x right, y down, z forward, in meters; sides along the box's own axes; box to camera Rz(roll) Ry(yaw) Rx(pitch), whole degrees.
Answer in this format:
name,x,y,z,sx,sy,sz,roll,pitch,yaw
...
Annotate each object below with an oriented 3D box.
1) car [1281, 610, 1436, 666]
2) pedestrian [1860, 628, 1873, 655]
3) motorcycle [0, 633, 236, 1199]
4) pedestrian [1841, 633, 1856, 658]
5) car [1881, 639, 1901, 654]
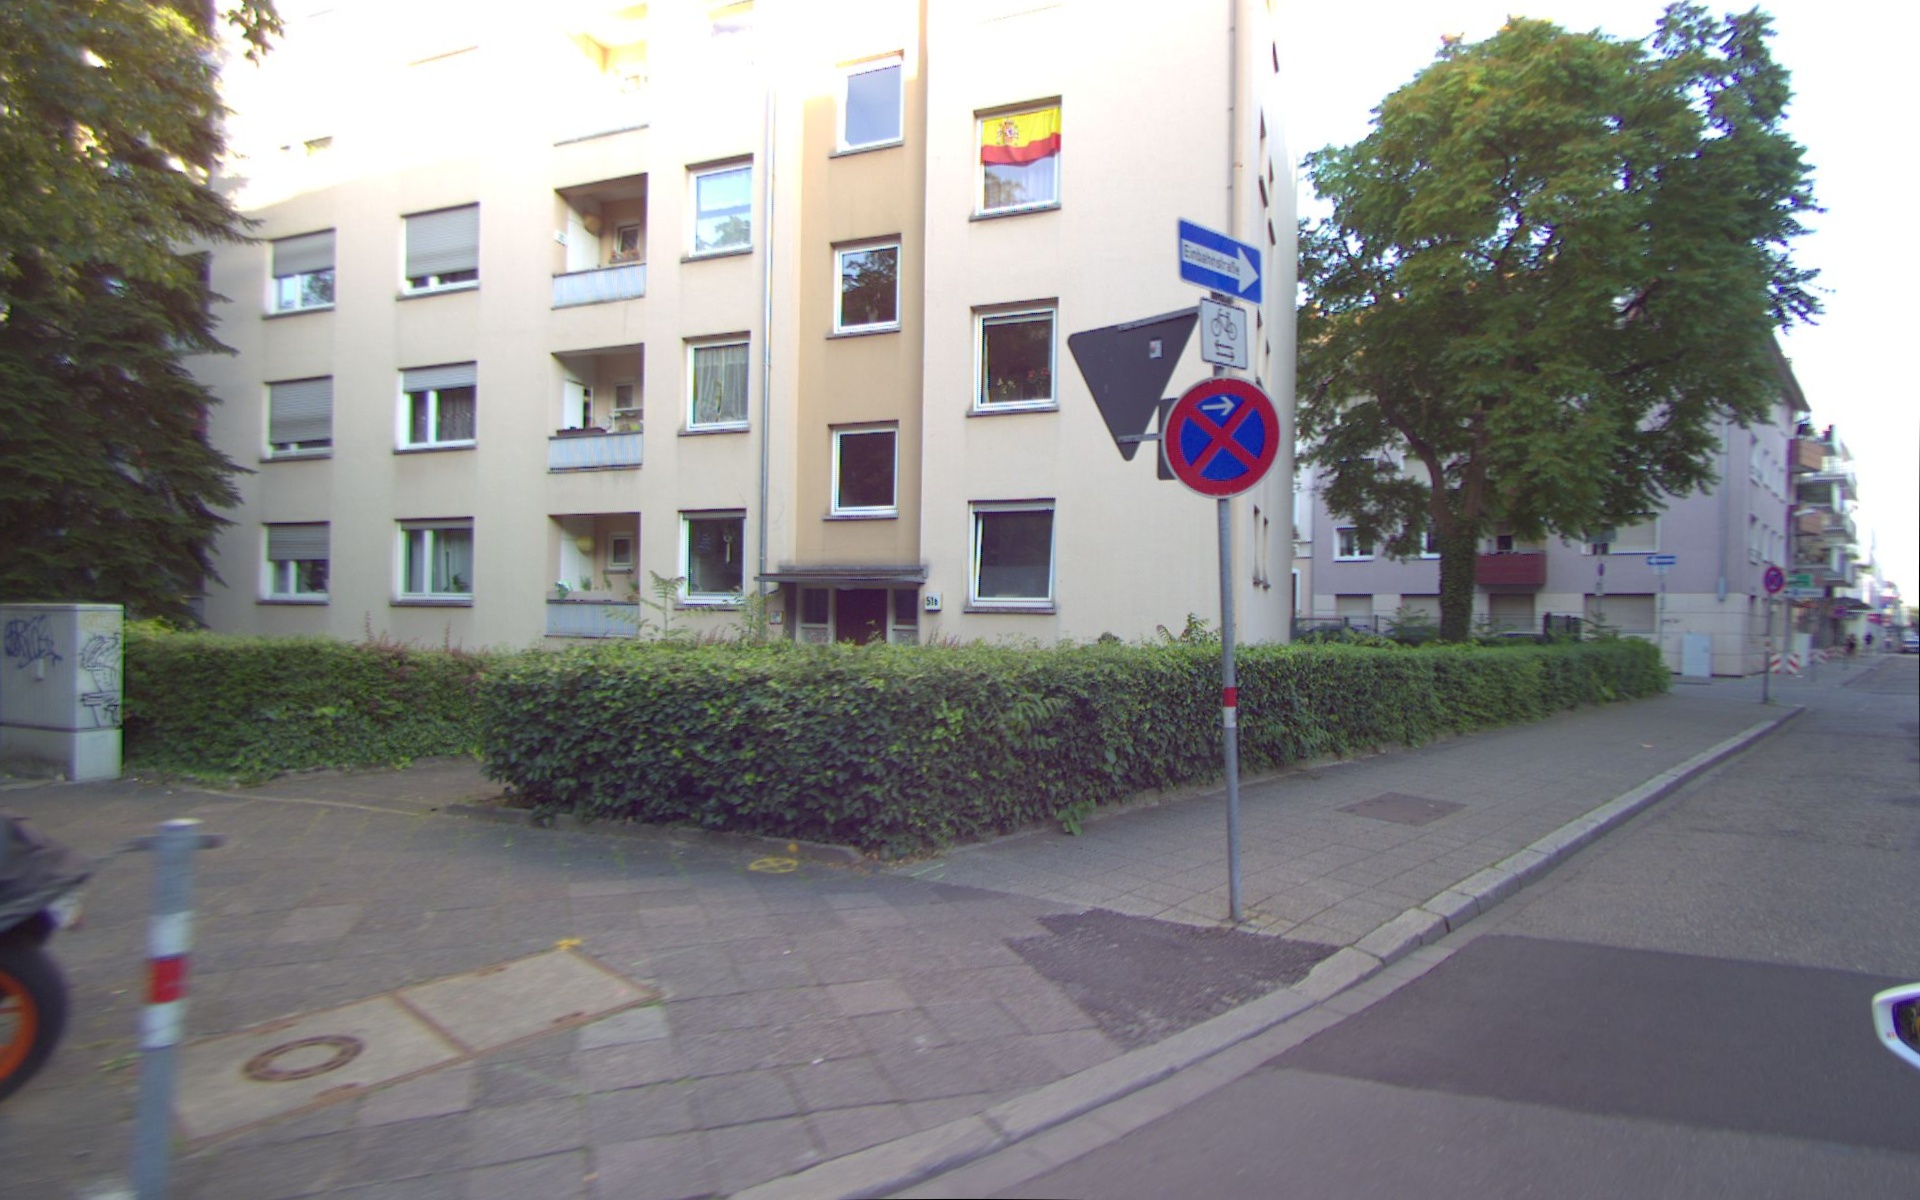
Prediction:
name,x,y,z,sx,sy,sz,roll,pitch,yaw
car,12.928,1.194,32.750,1.816,1.662,4.327,1,0,-44
pedestrian,64.411,2.927,71.384,0.647,1.911,0.570,0,-1,45
motorcycle,-3.078,0.786,2.350,2.205,1.392,0.715,1,0,-39
pedestrian,58.010,2.977,65.589,0.636,1.585,0.630,1,-1,29
car,92.375,4.575,99.684,1.458,1.416,3.313,0,-1,43
